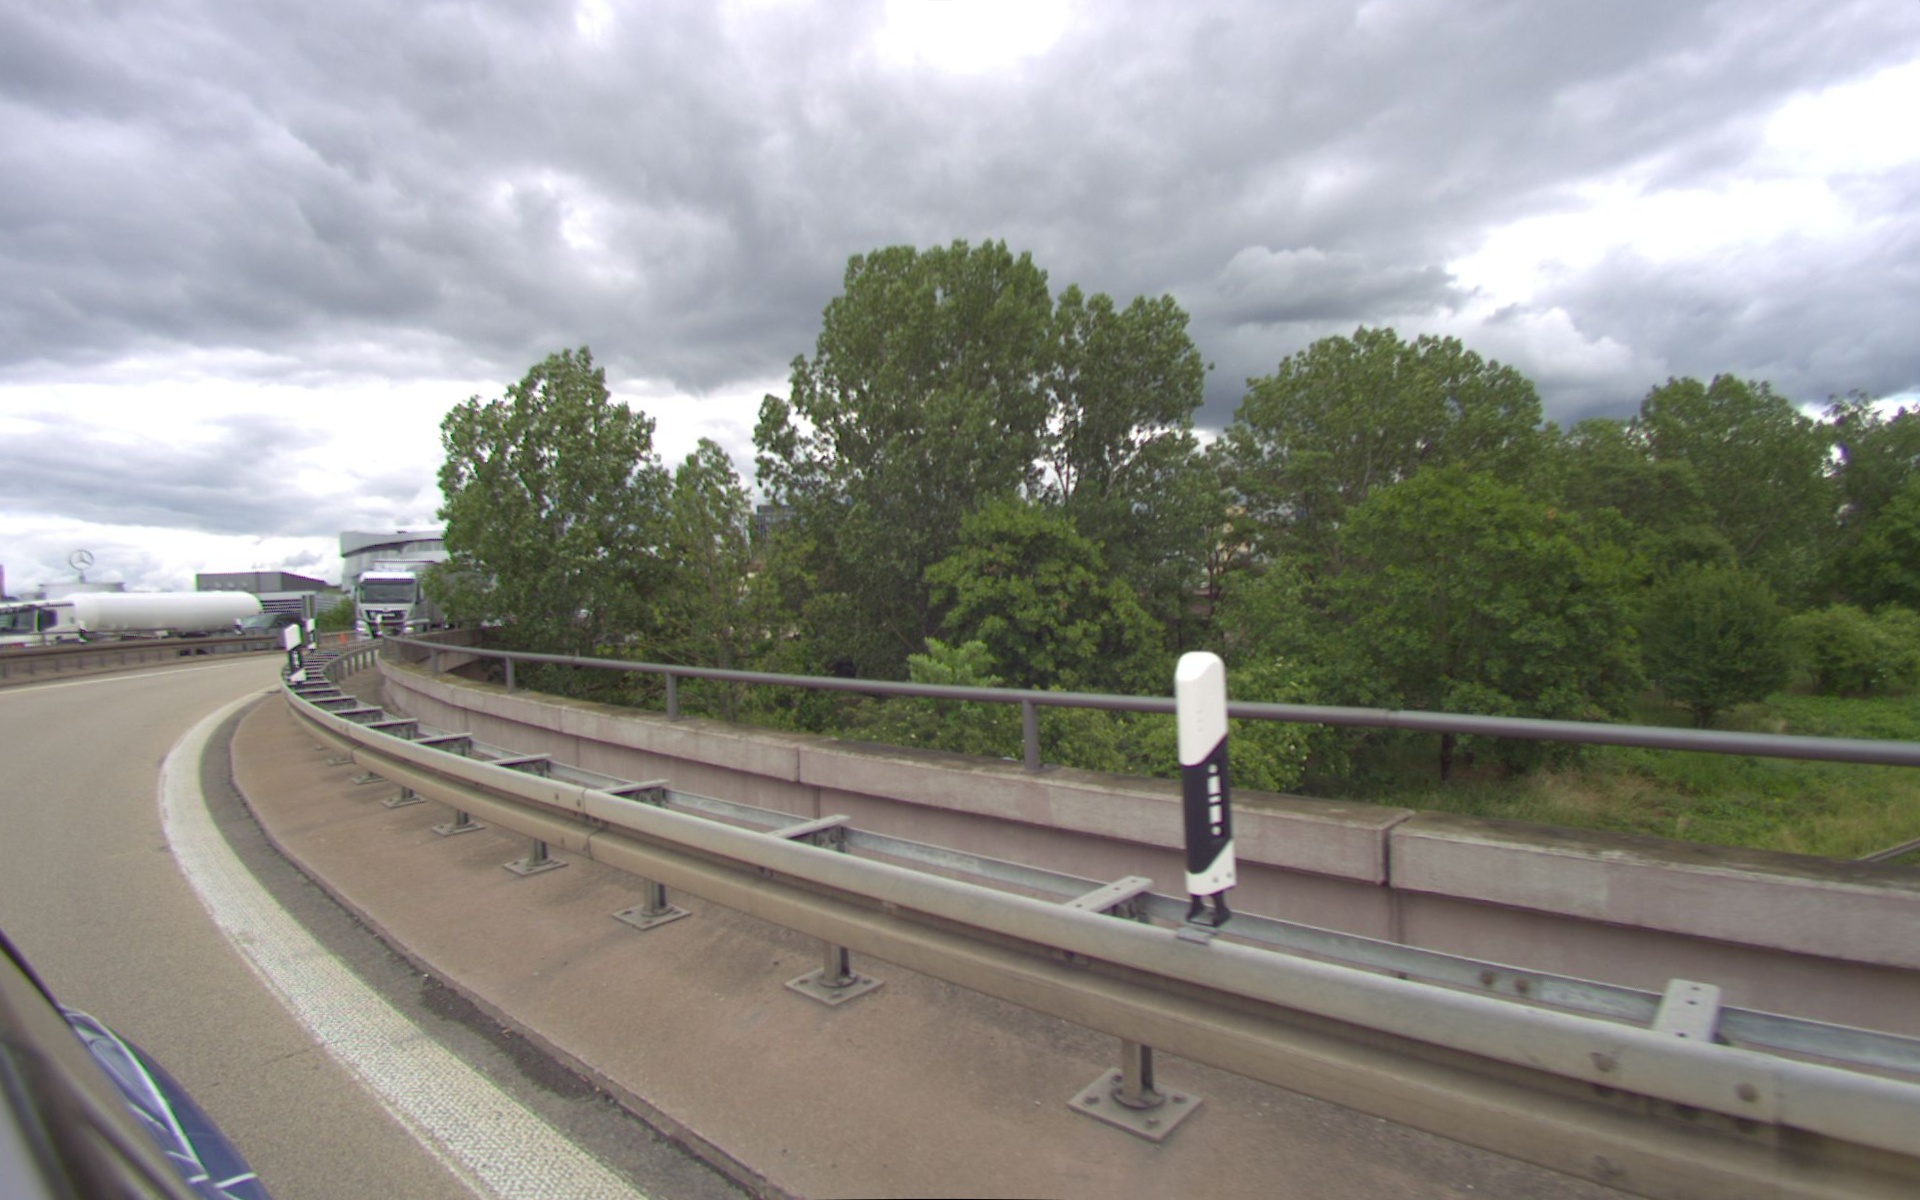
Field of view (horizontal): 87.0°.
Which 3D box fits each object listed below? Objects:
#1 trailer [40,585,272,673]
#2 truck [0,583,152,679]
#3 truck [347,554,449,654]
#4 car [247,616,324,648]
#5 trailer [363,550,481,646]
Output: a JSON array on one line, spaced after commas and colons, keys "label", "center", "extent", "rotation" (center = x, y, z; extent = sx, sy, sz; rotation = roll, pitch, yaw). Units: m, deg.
[{"label": "trailer", "center": [-37.868, 1.230, 48.447], "extent": [2.709, 3.677, 11.012], "rotation": [-2, 0, -3]}, {"label": "truck", "center": [-37.644, 1.224, 42.448], "extent": [2.697, 3.673, 6.204], "rotation": [-2, 0, -2]}, {"label": "truck", "center": [-25.681, 0.168, 46.537], "extent": [2.690, 4.260, 6.219], "rotation": [-2, 0, -16]}, {"label": "car", "center": [-33.956, 1.575, 51.071], "extent": [1.762, 1.419, 3.808], "rotation": [-2, 0, -8]}, {"label": "trailer", "center": [-27.408, -0.065, 52.307], "extent": [2.702, 4.269, 13.487], "rotation": [-2, 0, -17]}]
